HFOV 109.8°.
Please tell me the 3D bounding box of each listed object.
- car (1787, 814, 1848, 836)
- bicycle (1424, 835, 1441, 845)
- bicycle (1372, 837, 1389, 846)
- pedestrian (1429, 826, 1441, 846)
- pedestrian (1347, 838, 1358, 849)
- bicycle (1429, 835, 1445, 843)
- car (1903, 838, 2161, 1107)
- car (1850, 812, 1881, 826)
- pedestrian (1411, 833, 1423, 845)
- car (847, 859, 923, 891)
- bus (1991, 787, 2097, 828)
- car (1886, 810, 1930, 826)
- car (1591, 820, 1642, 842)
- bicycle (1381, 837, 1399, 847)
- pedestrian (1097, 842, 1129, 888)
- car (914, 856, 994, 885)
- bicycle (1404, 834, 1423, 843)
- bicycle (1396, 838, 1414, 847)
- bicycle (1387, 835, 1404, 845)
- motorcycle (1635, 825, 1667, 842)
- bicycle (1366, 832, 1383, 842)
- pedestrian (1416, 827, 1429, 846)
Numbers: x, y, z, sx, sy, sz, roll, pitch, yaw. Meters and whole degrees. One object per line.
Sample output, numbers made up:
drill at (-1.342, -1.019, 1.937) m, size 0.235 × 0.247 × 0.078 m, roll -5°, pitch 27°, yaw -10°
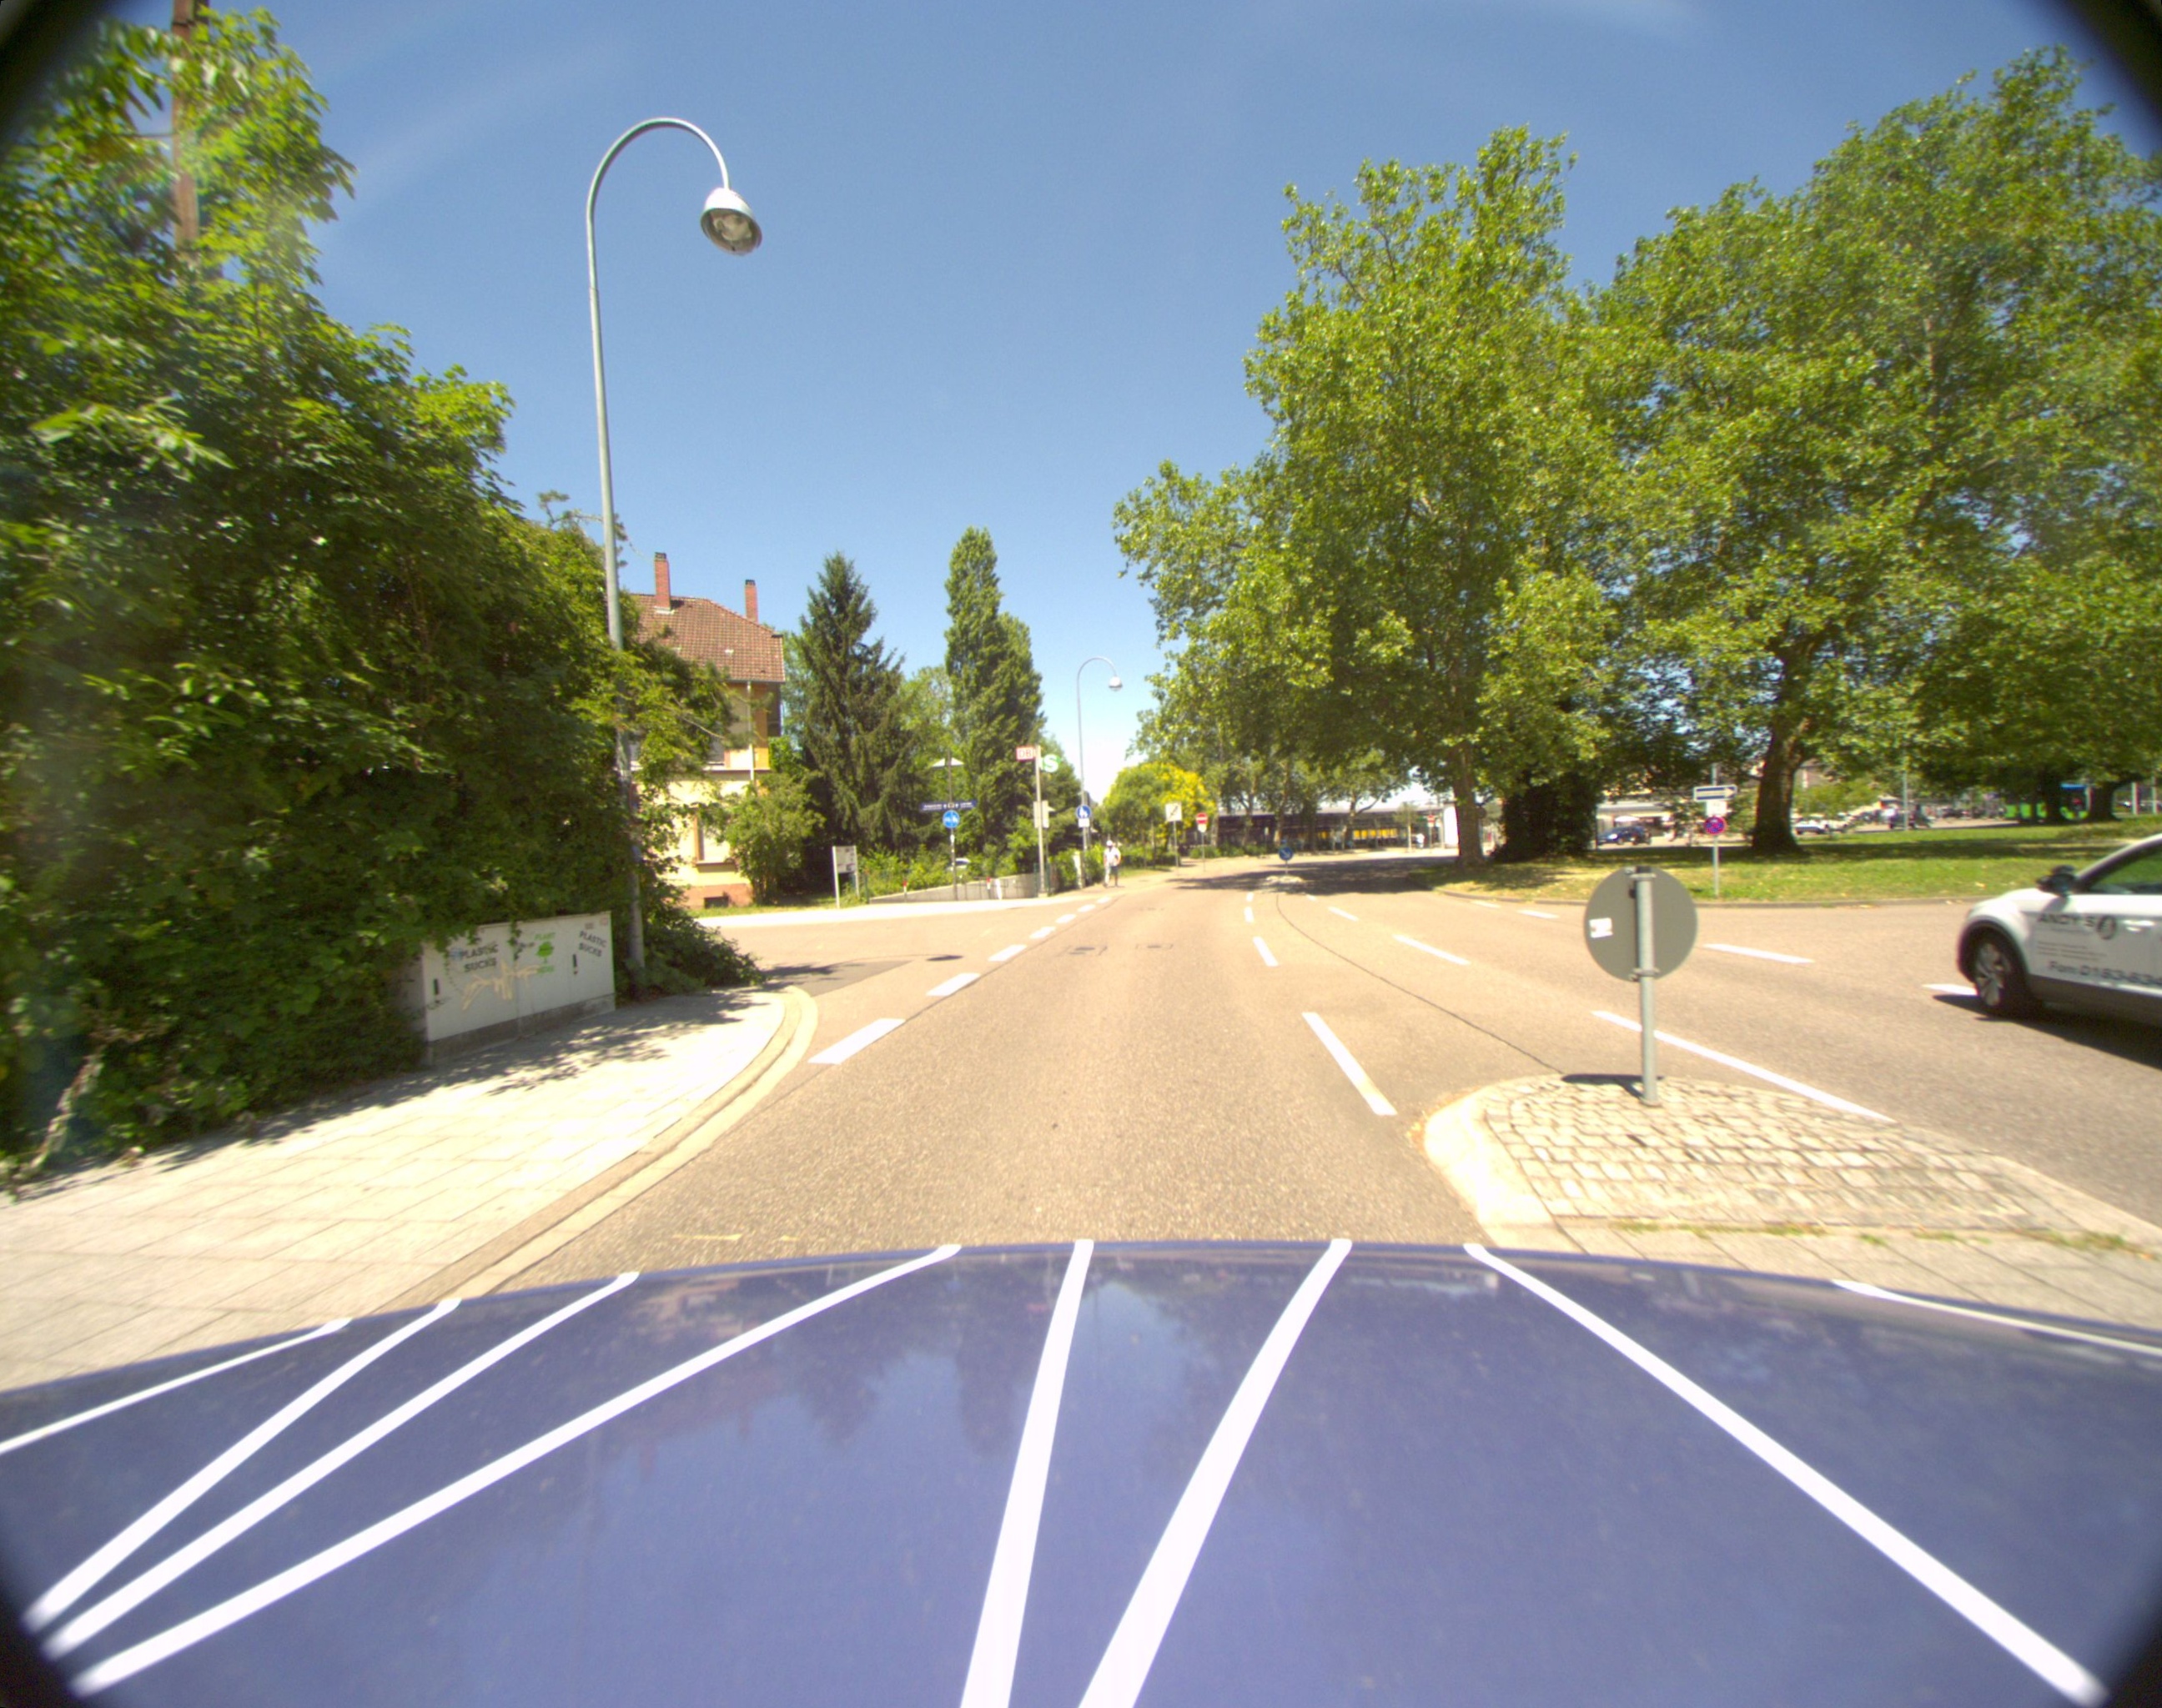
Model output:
car at (61.701, -2.434, 63.637) m, size 4.327 × 1.737 × 2.045 m, roll -1°, pitch 2°, yaw -21°
bicycle at (46.812, -1.897, 101.264) m, size 2.171 × 1.068 × 0.669 m, roll -6°, pitch 4°, yaw -18°
bicycle at (39.904, -1.695, 101.209) m, size 2.171 × 1.068 × 0.669 m, roll -6°, pitch 4°, yaw -18°
pedestrian at (33.631, -1.698, 72.185) m, size 0.913 × 1.774 × 0.696 m, roll -2°, pitch 1°, yaw 18°
pedestrian at (31.771, -1.252, 88.937) m, size 0.869 × 1.267 × 0.829 m, roll -3°, pitch 1°, yaw -25°
bicycle at (49.001, -2.116, 104.481) m, size 0.671 × 1.068 × 2.166 m, roll -6°, pitch 3°, yaw -17°
car at (7.542, 0.702, 4.514) m, size 1.874 × 1.613 × 4.311 m, roll -3°, pitch -1°, yaw 21°
car at (126.388, -5.596, 122.383) m, size 4.004 × 2.002 × 1.997 m, roll -3°, pitch 0°, yaw -21°
pedestrian at (41.007, -1.785, 92.654) m, size 0.831 × 1.378 × 0.961 m, roll -3°, pitch 1°, yaw -21°
car at (-10.976, 1.141, 42.576) m, size 3.972 × 1.527 × 1.653 m, roll -3°, pitch 0°, yaw -17°
bus at (87.824, -4.238, 69.231) m, size 11.869 × 3.283 × 2.811 m, roll -3°, pitch 0°, yaw -22°
car at (74.696, -3.248, 68.591) m, size 4.005 × 1.409 × 1.642 m, roll -2°, pitch 2°, yaw -26°
car at (42.126, -1.816, 59.772) m, size 4.189 × 1.536 × 1.775 m, roll -3°, pitch 2°, yaw -32°
bicycle at (40.528, -1.539, 99.644) m, size 2.171 × 1.068 × 0.669 m, roll -6°, pitch 4°, yaw -18°
pedestrian at (1.237, 0.415, 29.479) m, size 0.912 × 1.762 × 0.917 m, roll 0°, pitch 2°, yaw 28°
car at (-7.788, 0.984, 46.501) m, size 4.504 × 1.491 × 1.767 m, roll -3°, pitch 0°, yaw -21°
bicycle at (44.315, -2.013, 101.336) m, size 0.865 × 1.068 × 2.164 m, roll -8°, pitch 4°, yaw -39°
bicycle at (40.583, -1.392, 95.170) m, size 0.671 × 1.068 × 2.165 m, roll -6°, pitch 4°, yaw -24°
bicycle at (40.822, -1.798, 98.609) m, size 2.171 × 1.068 × 0.669 m, roll -6°, pitch 4°, yaw -18°
motorcycle at (44.300, -1.611, 59.061) m, size 2.051 × 1.224 × 0.809 m, roll -3°, pitch 1°, yaw -14°
bicycle at (39.498, -2.288, 102.312) m, size 2.171 × 1.068 × 0.669 m, roll -6°, pitch 4°, yaw -18°
pedestrian at (32.534, -1.681, 72.456) m, size 0.914 × 1.726 × 0.676 m, roll -3°, pitch 1°, yaw 6°
